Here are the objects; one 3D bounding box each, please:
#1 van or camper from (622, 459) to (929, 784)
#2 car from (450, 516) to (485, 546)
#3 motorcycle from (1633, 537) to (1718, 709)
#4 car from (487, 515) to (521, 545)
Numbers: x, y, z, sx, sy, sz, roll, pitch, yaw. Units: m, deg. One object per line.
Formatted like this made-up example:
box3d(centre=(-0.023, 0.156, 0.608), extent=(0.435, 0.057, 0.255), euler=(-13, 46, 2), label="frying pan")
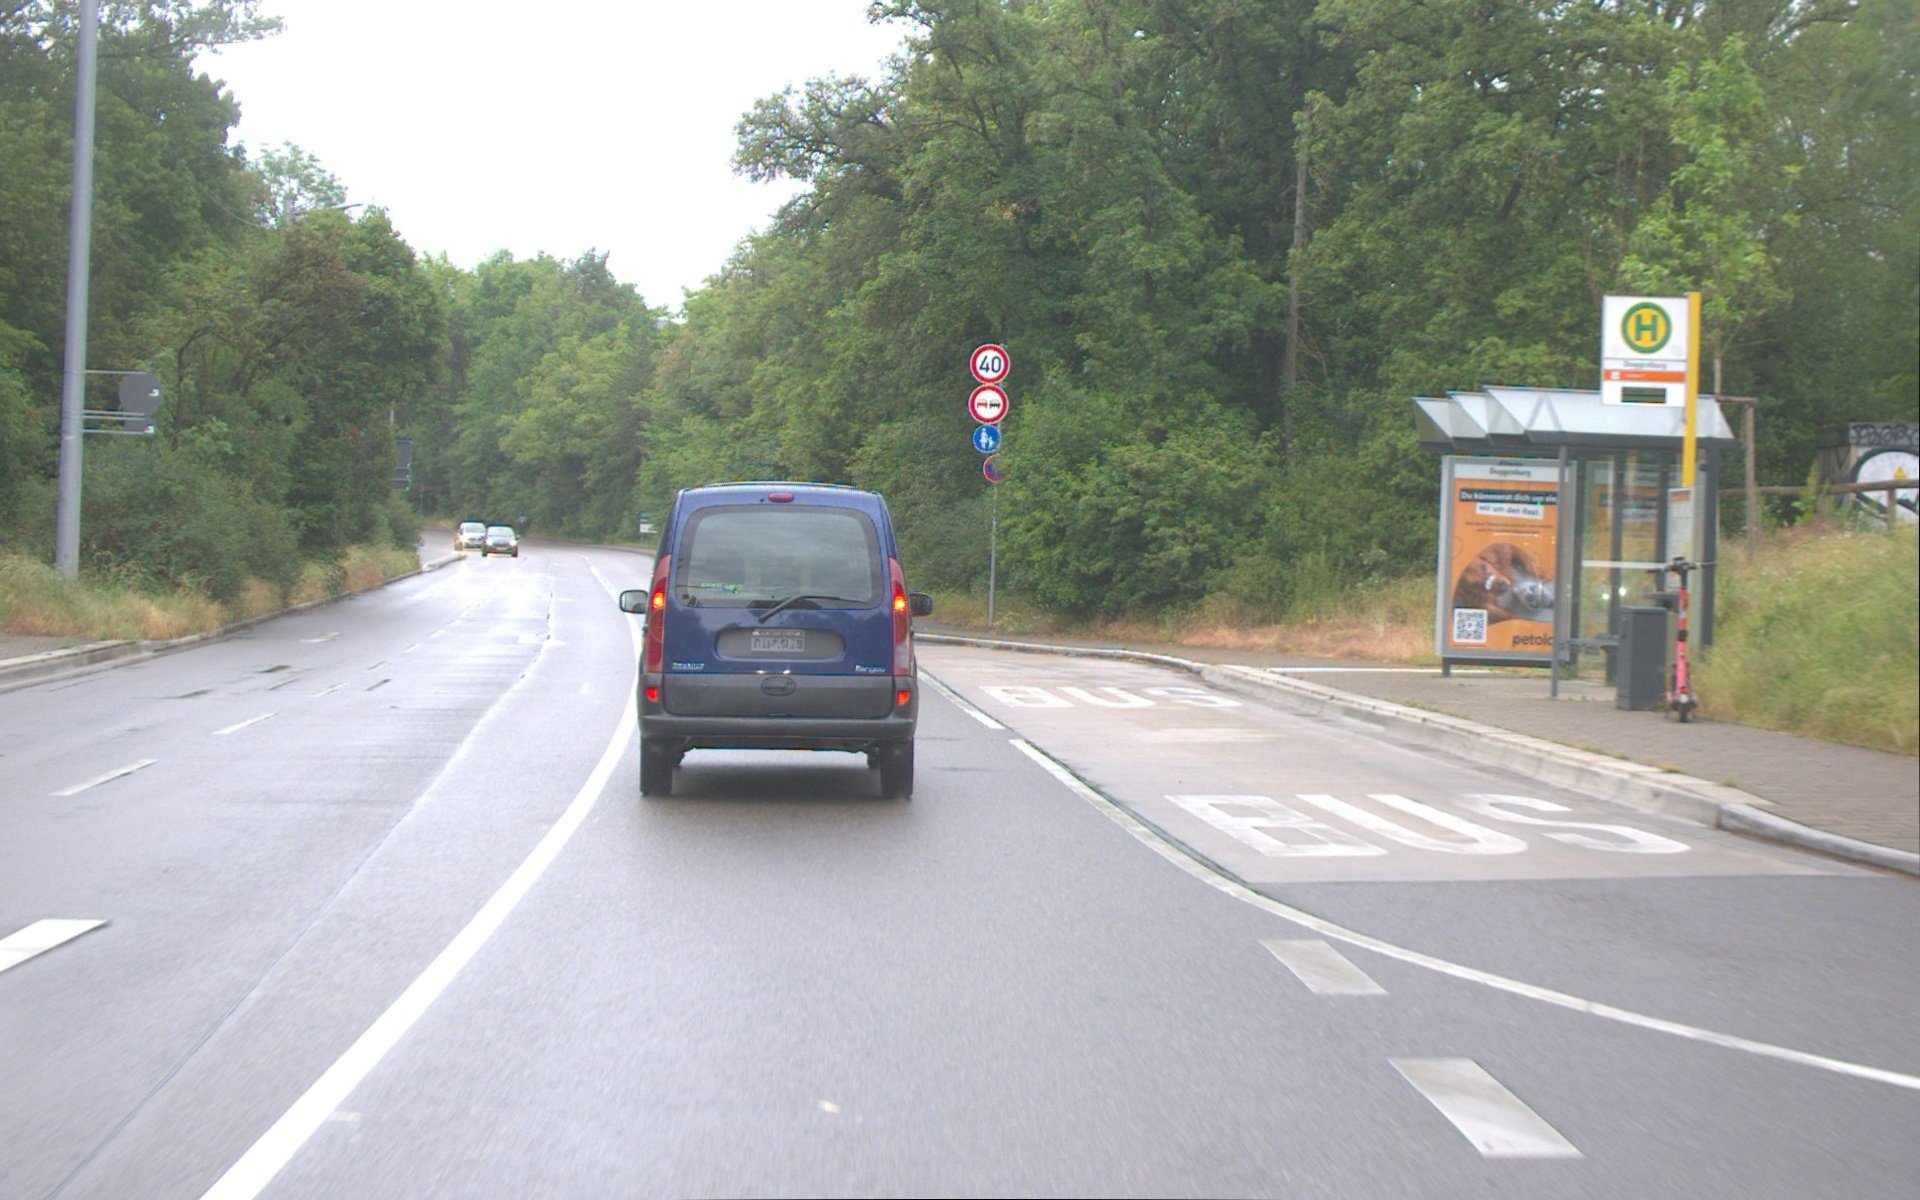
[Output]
box3d(centre=(-1.228, 0.088, 21.302), extent=(1.712, 1.819, 4.001), euler=(0, 1, -6), label="van or camper")
box3d(centre=(-27.683, -3.890, 193.156), extent=(1.771, 1.605, 4.085), euler=(2, 1, -6), label="car")
box3d(centre=(5.575, 0.166, 26.807), extent=(0.589, 1.284, 1.537), euler=(2, 1, 12), label="motorcycle")
box3d(centre=(-22.513, -3.466, 169.877), extent=(1.598, 1.436, 3.992), euler=(0, 1, -7), label="car")
